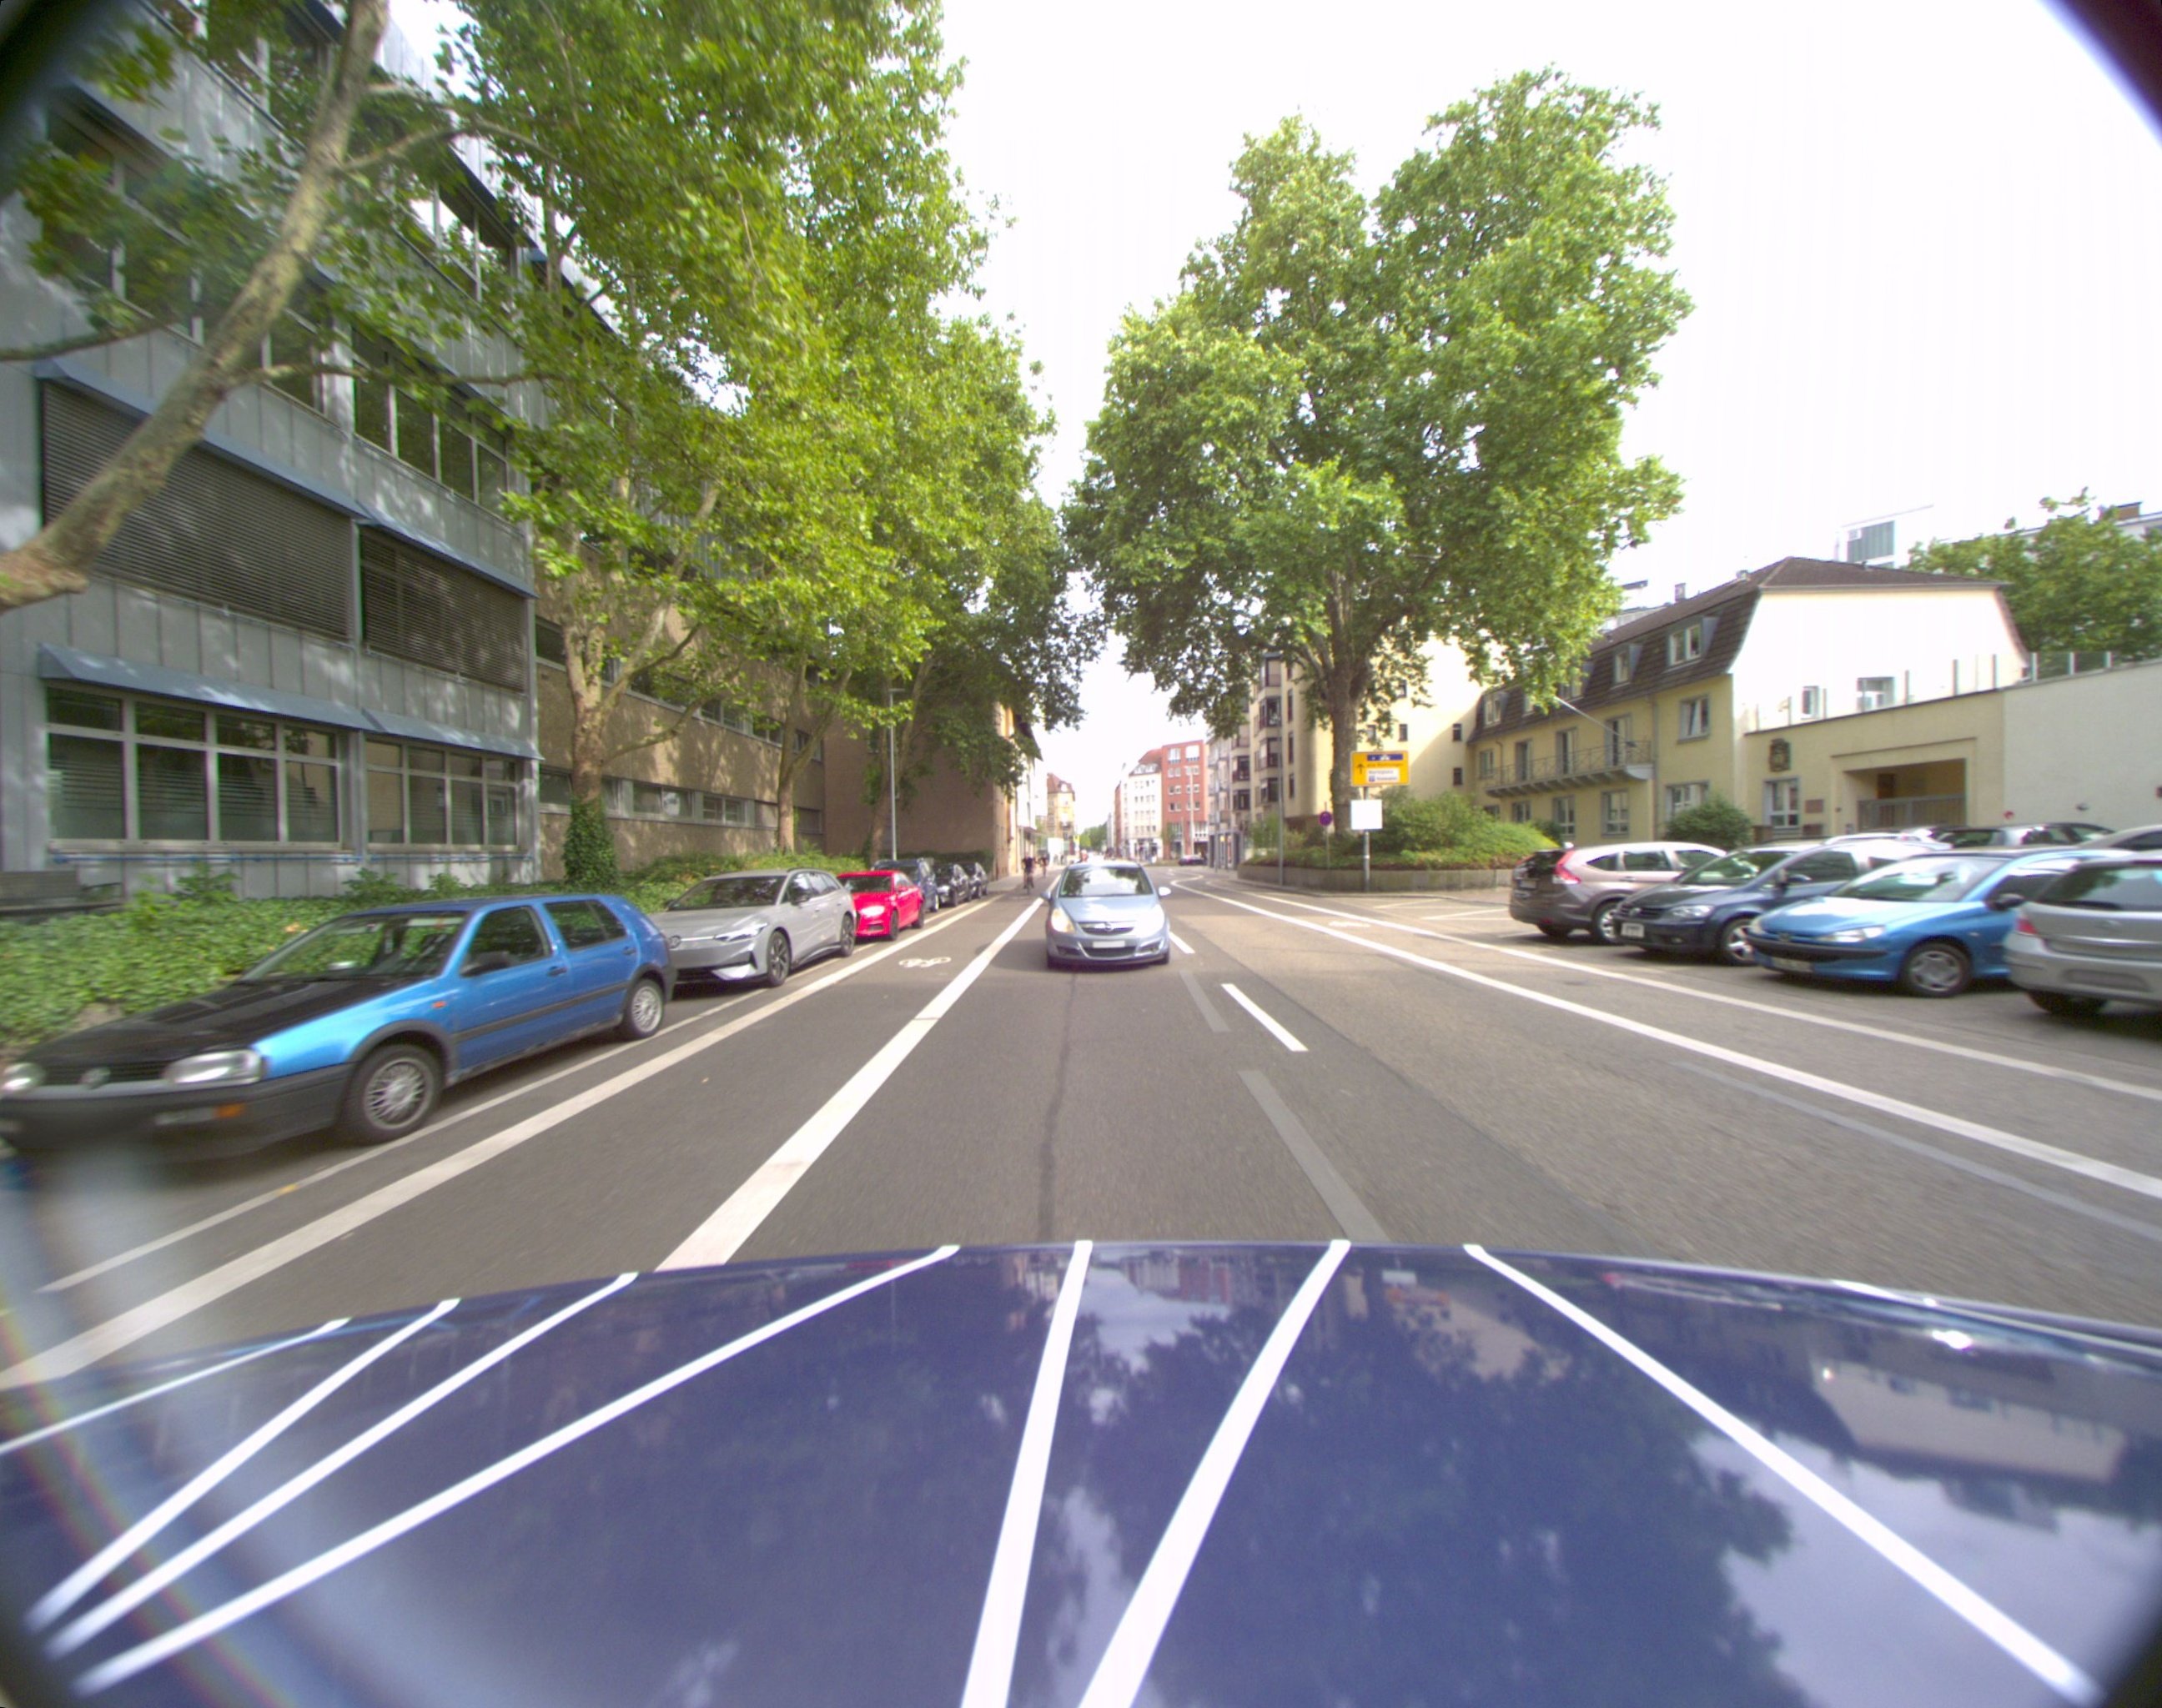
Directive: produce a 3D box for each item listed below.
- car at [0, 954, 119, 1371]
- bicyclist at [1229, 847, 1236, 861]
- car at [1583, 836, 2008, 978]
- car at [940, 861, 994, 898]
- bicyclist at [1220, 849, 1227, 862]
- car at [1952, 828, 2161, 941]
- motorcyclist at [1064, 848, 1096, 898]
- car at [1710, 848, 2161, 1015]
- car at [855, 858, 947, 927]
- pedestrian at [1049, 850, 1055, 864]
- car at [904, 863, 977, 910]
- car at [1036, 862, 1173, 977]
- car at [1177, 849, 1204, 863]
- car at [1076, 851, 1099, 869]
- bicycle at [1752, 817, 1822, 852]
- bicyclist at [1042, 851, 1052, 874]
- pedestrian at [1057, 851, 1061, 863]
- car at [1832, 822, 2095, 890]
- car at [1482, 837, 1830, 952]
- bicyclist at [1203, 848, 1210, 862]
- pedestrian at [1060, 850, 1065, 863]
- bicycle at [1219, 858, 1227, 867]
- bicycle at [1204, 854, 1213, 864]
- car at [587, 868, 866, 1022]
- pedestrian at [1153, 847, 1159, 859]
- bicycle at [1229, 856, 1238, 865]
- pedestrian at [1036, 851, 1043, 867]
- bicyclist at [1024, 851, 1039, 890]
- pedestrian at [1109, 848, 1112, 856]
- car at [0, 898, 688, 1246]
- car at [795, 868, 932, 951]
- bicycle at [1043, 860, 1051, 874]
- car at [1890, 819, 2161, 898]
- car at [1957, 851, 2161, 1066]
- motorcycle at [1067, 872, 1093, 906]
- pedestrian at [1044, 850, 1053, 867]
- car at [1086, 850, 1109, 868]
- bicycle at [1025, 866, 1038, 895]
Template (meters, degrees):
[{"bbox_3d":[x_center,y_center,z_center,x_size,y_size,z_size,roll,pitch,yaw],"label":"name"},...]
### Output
[{"bbox_3d":[-4.723,1.172,0.906,1.634,1.461,4.317,-1,0,-1],"label":"car"},{"bbox_3d":[17.419,-0.024,87.537,0.658,1.516,0.841,-3,-1,5],"label":"bicyclist"},{"bbox_3d":[9.400,0.671,10.280,3.950,1.560,1.754,-3,0,3],"label":"car"},{"bbox_3d":[-4.652,1.008,31.431,1.662,1.413,3.866,-1,-1,0],"label":"car"},{"bbox_3d":[16.731,0.200,89.298,0.658,1.516,0.856,-3,0,5],"label":"bicyclist"},{"bbox_3d":[15.563,0.395,10.691,1.762,1.510,4.234,-2,0,1],"label":"car"},{"bbox_3d":[-0.034,0.592,23.590,0.871,1.508,1.044,-1,0,6],"label":"motorcyclist"},{"bbox_3d":[9.375,0.746,8.197,3.691,1.418,1.753,-3,0,-1],"label":"car"},{"bbox_3d":[-4.933,0.986,21.413,1.662,1.641,4.418,-2,0,-3],"label":"car"},{"bbox_3d":[-3.955,0.411,102.714,0.673,1.892,0.590,-1,1,1],"label":"pedestrian"},{"bbox_3d":[-4.778,1.064,26.330,1.661,1.413,3.947,-1,0,2],"label":"car"},{"bbox_3d":[0.334,0.851,11.546,1.723,1.394,4.000,0,0,1],"label":"car"},{"bbox_3d":[13.474,0.260,93.486,1.812,1.398,4.620,-3,-5,27],"label":"car"},{"bbox_3d":[0.602,0.530,69.556,1.957,1.592,4.000,-1,0,2],"label":"car"},{"bbox_3d":[22.891,-0.633,24.648,1.802,1.038,0.399,-3,-1,2],"label":"bicycle"},{"bbox_3d":[-2.412,0.576,53.960,0.613,1.594,0.847,-2,-1,-3],"label":"bicyclist"},{"bbox_3d":[-3.038,0.422,102.715,0.473,1.663,0.590,-1,1,1],"label":"pedestrian"},{"bbox_3d":[21.320,0.041,18.515,3.995,1.412,1.891,-3,1,5],"label":"car"},{"bbox_3d":[9.427,0.650,12.765,4.267,1.596,1.968,-3,-1,1],"label":"car"},{"bbox_3d":[13.991,0.106,84.647,0.658,1.516,1.077,-3,-1,5],"label":"bicyclist"},{"bbox_3d":[-2.655,0.304,110.207,0.658,1.841,0.971,-1,1,4],"label":"pedestrian"},{"bbox_3d":[16.720,1.018,89.487,0.739,1.001,1.977,-3,-1,3],"label":"bicycle"},{"bbox_3d":[14.180,0.571,84.670,0.739,1.001,2.196,-3,-1,3],"label":"bicycle"},{"bbox_3d":[-4.748,1.087,11.145,1.732,1.508,4.870,-5,1,-1],"label":"car"},{"bbox_3d":[12.596,-0.138,127.734,0.719,1.960,1.016,2,0,28],"label":"pedestrian"},{"bbox_3d":[17.404,0.755,86.795,0.739,1.001,2.253,-3,-1,5],"label":"bicycle"},{"bbox_3d":[-4.143,0.500,76.375,0.606,1.659,0.944,-1,1,-1],"label":"pedestrian"},{"bbox_3d":[-2.155,0.715,33.110,0.560,1.699,0.862,-1,0,-1],"label":"bicyclist"},{"bbox_3d":[6.828,-0.431,177.276,0.541,1.712,0.520,-2,1,4],"label":"pedestrian"},{"bbox_3d":[-4.877,1.191,5.679,1.626,1.378,4.000,-4,0,2],"label":"car"},{"bbox_3d":[-4.490,1.076,16.418,1.680,1.386,4.460,-1,0,-1],"label":"car"},{"bbox_3d":[-2.408,0.897,54.006,0.489,0.994,1.747,-2,0,-2],"label":"bicycle"},{"bbox_3d":[20.612,0.082,16.435,3.995,1.457,1.918,-3,0,5],"label":"car"},{"bbox_3d":[9.685,0.710,5.915,3.691,1.477,1.753,-3,0,-1],"label":"car"},{"bbox_3d":[-0.005,1.065,23.597,0.570,0.962,2.015,-1,0,6],"label":"motorcycle"},{"bbox_3d":[-3.261,0.431,76.403,0.753,1.740,0.859,-1,1,-1],"label":"pedestrian"},{"bbox_3d":[1.881,0.501,84.306,1.997,1.867,4.002,-1,0,8],"label":"car"},{"bbox_3d":[-2.127,1.132,32.841,0.407,1.115,2.016,-3,1,-2],"label":"bicycle"}]
